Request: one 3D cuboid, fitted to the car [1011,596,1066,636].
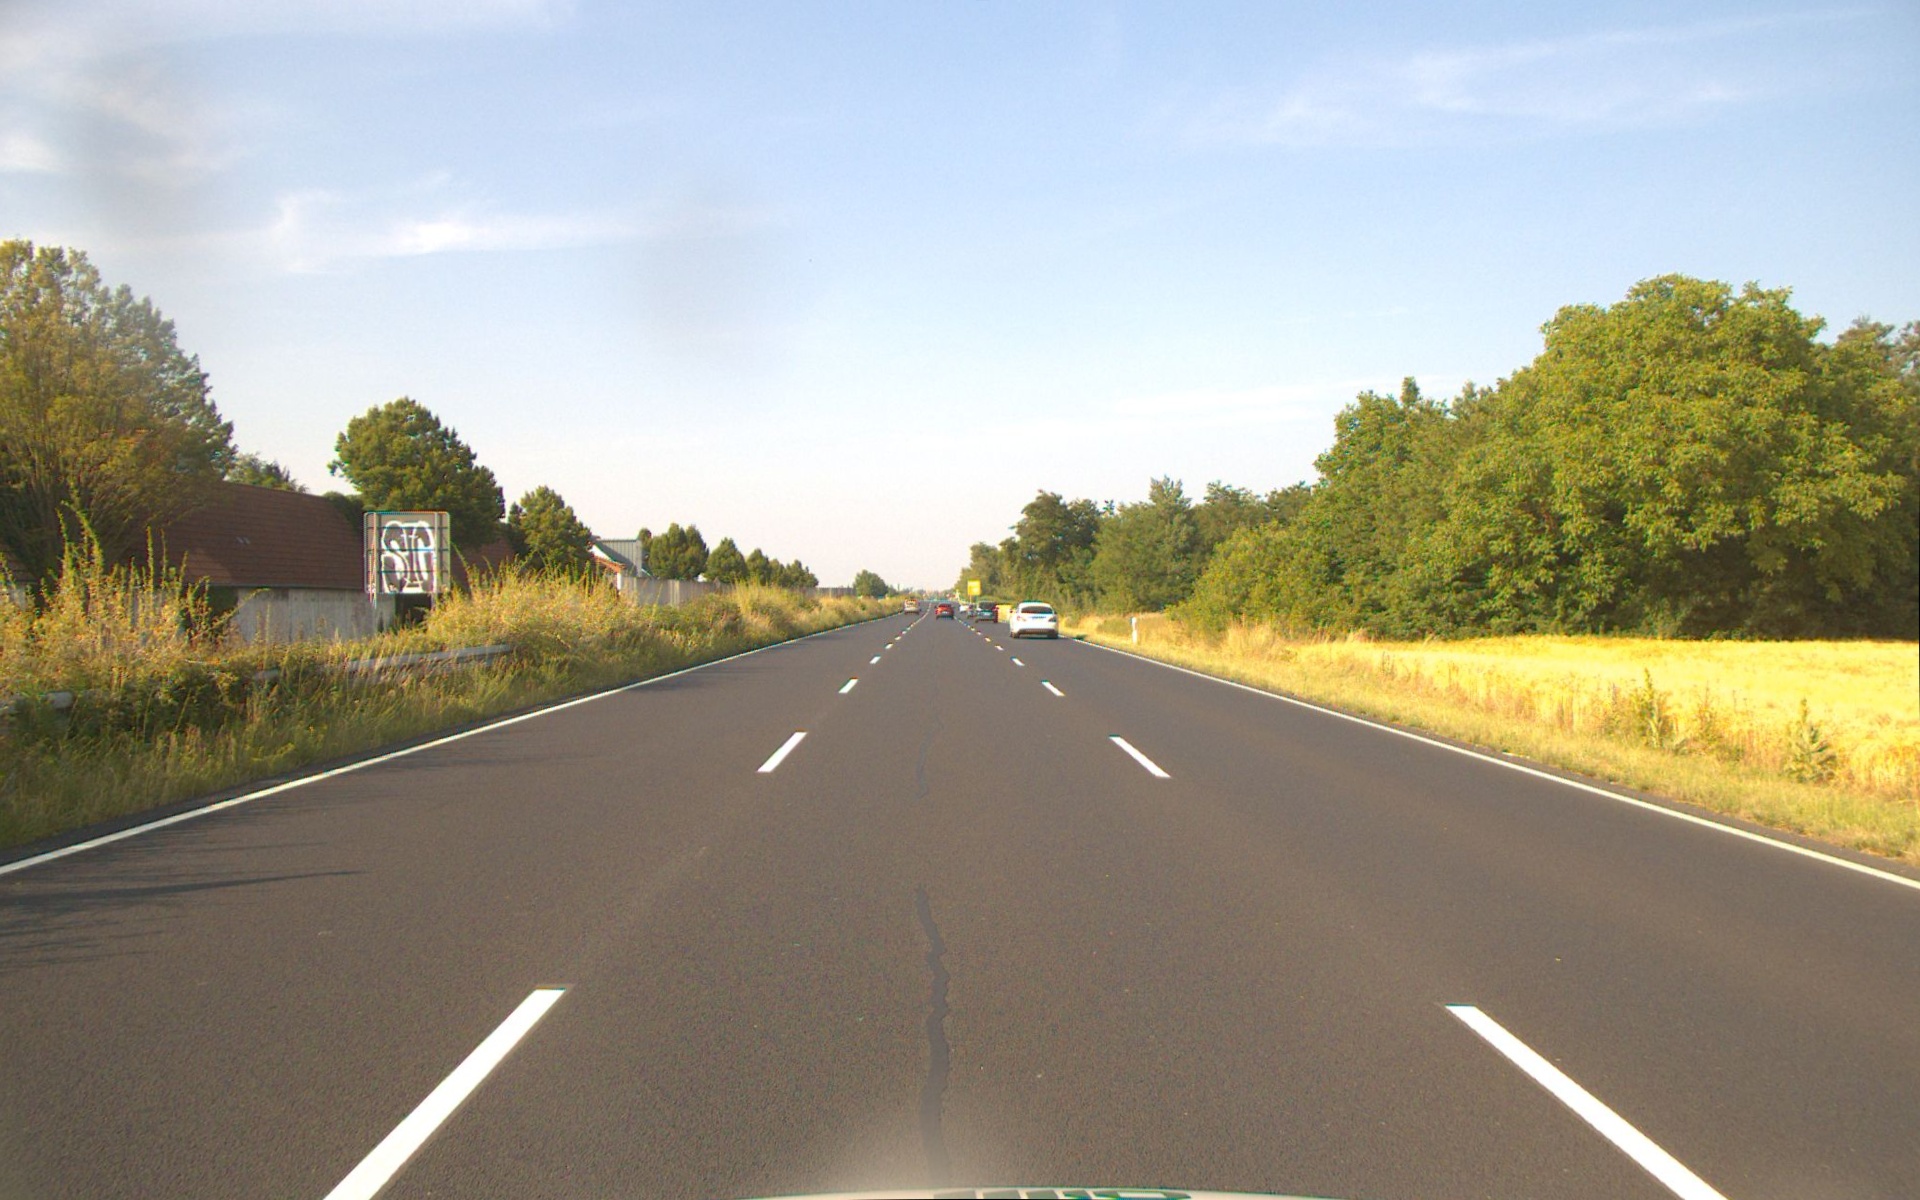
[{"bbox_3d":[3.179,0.646,67.609,1.953,1.543,3.999,1,-1,-1],"label":"car"}]

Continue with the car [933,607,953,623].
[{"bbox_3d":[-1.654,1.400,155.866,1.775,1.461,3.857,1,-1,-2],"label":"car"}]

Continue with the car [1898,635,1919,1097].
[{"bbox_3d":[3.774,0.793,3.214,1.584,1.411,3.950,0,-1,-2],"label":"car"}]

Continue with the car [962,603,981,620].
[{"bbox_3d":[1.130,1.169,167.840,1.797,1.747,3.861,1,-1,-1],"label":"car"}]

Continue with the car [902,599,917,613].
[{"bbox_3d":[-6.307,0.746,206.830,1.722,1.646,4.000,1,-1,1],"label":"car"}]

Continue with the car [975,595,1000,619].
[{"bbox_3d":[2.102,0.575,127.777,1.791,1.758,3.999,1,-1,-1],"label":"car"}]
